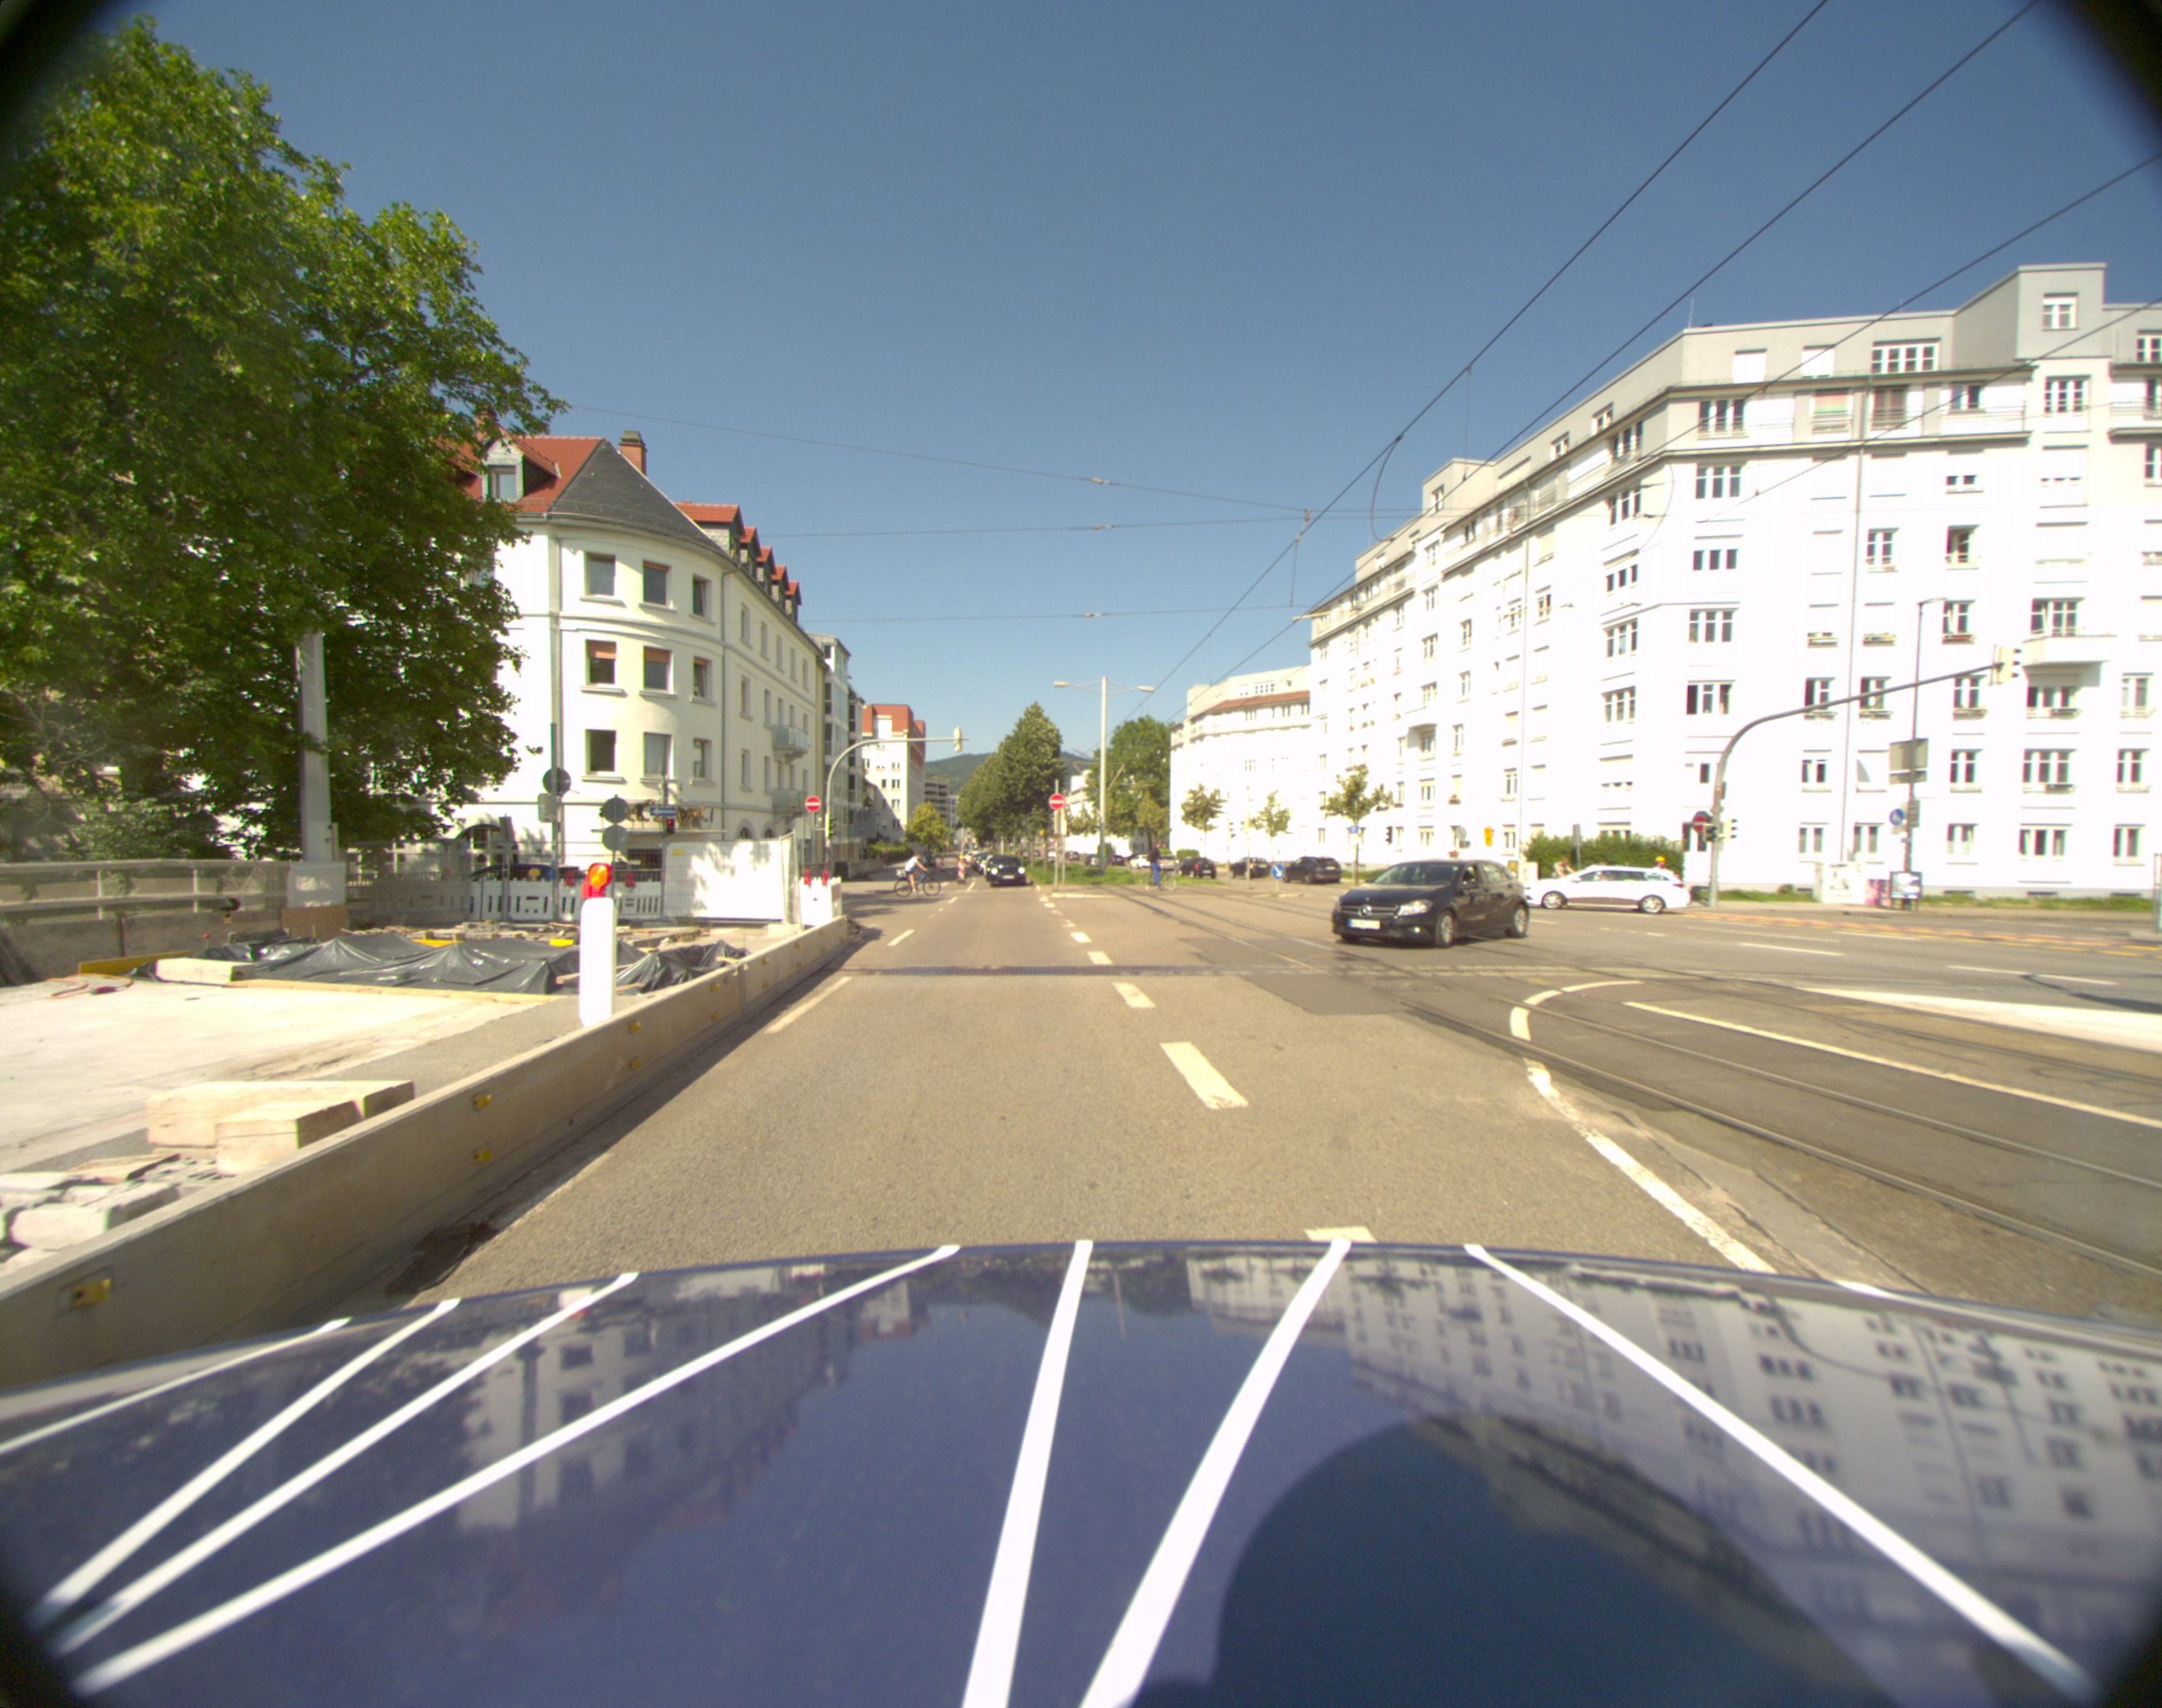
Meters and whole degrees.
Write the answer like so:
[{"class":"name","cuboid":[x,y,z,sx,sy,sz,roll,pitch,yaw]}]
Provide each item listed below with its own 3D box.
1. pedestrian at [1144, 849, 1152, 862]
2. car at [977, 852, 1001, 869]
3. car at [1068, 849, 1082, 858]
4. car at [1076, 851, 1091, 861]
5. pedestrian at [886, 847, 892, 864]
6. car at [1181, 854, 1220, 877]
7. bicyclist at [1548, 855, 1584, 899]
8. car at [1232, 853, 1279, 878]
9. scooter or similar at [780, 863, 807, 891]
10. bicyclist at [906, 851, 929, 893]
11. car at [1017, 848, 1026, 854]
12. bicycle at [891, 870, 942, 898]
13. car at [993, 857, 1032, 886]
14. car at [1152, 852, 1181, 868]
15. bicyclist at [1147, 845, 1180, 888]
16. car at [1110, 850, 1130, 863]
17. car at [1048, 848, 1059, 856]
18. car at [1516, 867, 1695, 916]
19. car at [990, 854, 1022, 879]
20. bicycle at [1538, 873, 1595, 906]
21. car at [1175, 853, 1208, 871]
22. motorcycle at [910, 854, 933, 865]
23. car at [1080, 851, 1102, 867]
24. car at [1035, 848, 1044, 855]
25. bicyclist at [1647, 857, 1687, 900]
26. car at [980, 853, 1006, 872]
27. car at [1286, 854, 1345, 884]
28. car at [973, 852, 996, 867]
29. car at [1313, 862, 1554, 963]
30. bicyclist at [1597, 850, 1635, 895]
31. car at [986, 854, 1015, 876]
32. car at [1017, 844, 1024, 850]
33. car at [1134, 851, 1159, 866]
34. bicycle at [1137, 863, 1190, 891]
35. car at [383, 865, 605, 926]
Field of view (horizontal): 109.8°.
[{"class":"pedestrian","cuboid":[8.419,0.149,95.370,0.858,1.656,0.909,1,1,-4]},{"class":"car","cuboid":[-7.736,0.524,63.714,1.768,1.346,3.996,-1,0,-10]},{"class":"car","cuboid":[-0.948,-0.059,123.548,1.740,1.476,3.736,0,1,-9]},{"class":"car","cuboid":[0.369,0.275,115.778,1.740,1.476,3.736,0,1,-9]},{"class":"pedestrian","cuboid":[-20.213,0.164,79.959,0.599,1.753,0.751,0,1,-11]},{"class":"car","cuboid":[8.219,0.797,52.506,1.594,1.484,3.659,1,0,-9]},{"class":"bicyclist","cuboid":[18.091,0.855,28.360,0.624,1.581,0.916,-1,2,-17]},{"class":"car","cuboid":[11.856,0.749,51.950,1.741,1.628,3.736,0,1,-11]},{"class":"scooter or similar","cuboid":[-11.642,0.916,30.783,0.338,1.111,1.306,1,1,14]},{"class":"bicyclist","cuboid":[-6.142,0.659,28.556,0.785,1.541,0.709,0,3,-18]},{"class":"car","cuboid":[-13.434,-0.652,171.206,1.799,1.476,3.737,0,1,-7]},{"class":"bicycle","cuboid":[-6.197,1.116,28.581,1.821,0.985,0.709,0,3,-18]},{"class":"car","cuboid":[-3.329,0.831,37.438,1.767,1.313,3.998,-1,0,-3]},{"class":"car","cuboid":[8.134,0.547,72.546,1.740,1.476,3.736,0,1,-9]},{"class":"bicyclist","cuboid":[3.269,0.492,30.061,1.010,1.644,0.808,-2,-1,-16]},{"class":"car","cuboid":[4.710,0.297,92.448,1.740,1.476,3.736,0,1,-9]},{"class":"car","cuboid":[-5.470,-0.398,151.316,1.740,1.476,3.737,1,1,-7]},{"class":"car","cuboid":[16.730,1.161,24.520,4.475,1.404,1.705,0,1,23]},{"class":"car","cuboid":[-4.386,0.687,44.653,1.768,1.346,3.998,-1,0,-5]},{"class":"bicycle","cuboid":[18.100,1.310,28.363,0.619,1.093,1.783,0,2,-17]},{"class":"car","cuboid":[9.391,0.669,64.649,1.740,1.476,3.736,0,1,-9]},{"class":"motorcycle","cuboid":[-16.118,0.539,76.796,2.178,1.159,0.743,0,1,-3]},{"class":"car","cuboid":[1.013,0.489,77.806,1.697,1.547,3.653,1,1,-8]},{"class":"car","cuboid":[-8.781,-0.508,160.449,1.799,1.476,3.737,0,1,-7]},{"class":"bicyclist","cuboid":[20.526,0.857,26.620,0.598,1.469,0.916,0,1,-20]},{"class":"car","cuboid":[-6.624,0.614,56.705,1.768,1.346,3.996,-1,0,-8]},{"class":"car","cuboid":[13.409,0.829,43.606,1.740,1.628,3.736,0,1,-9]},{"class":"car","cuboid":[-9.036,0.473,70.946,1.769,1.346,3.995,-1,0,-13]},{"class":"car","cuboid":[6.133,0.865,13.001,4.631,1.400,1.699,0,1,-36]},{"class":"bicyclist","cuboid":[19.223,0.652,27.313,0.624,1.570,0.916,-1,1,-17]},{"class":"car","cuboid":[-5.353,0.716,50.370,1.768,1.346,3.997,-1,0,-6]},{"class":"car","cuboid":[-16.816,-1.860,210.975,1.799,1.672,3.737,0,1,-7]},{"class":"car","cuboid":[6.792,0.437,79.546,1.740,1.476,3.736,0,1,-9]},{"class":"bicycle","cuboid":[3.259,0.907,30.057,1.913,1.014,0.820,-1,0,-15]},{"class":"car","cuboid":[-15.781,1.077,20.632,4.549,1.472,1.675,-1,0,-6]}]
